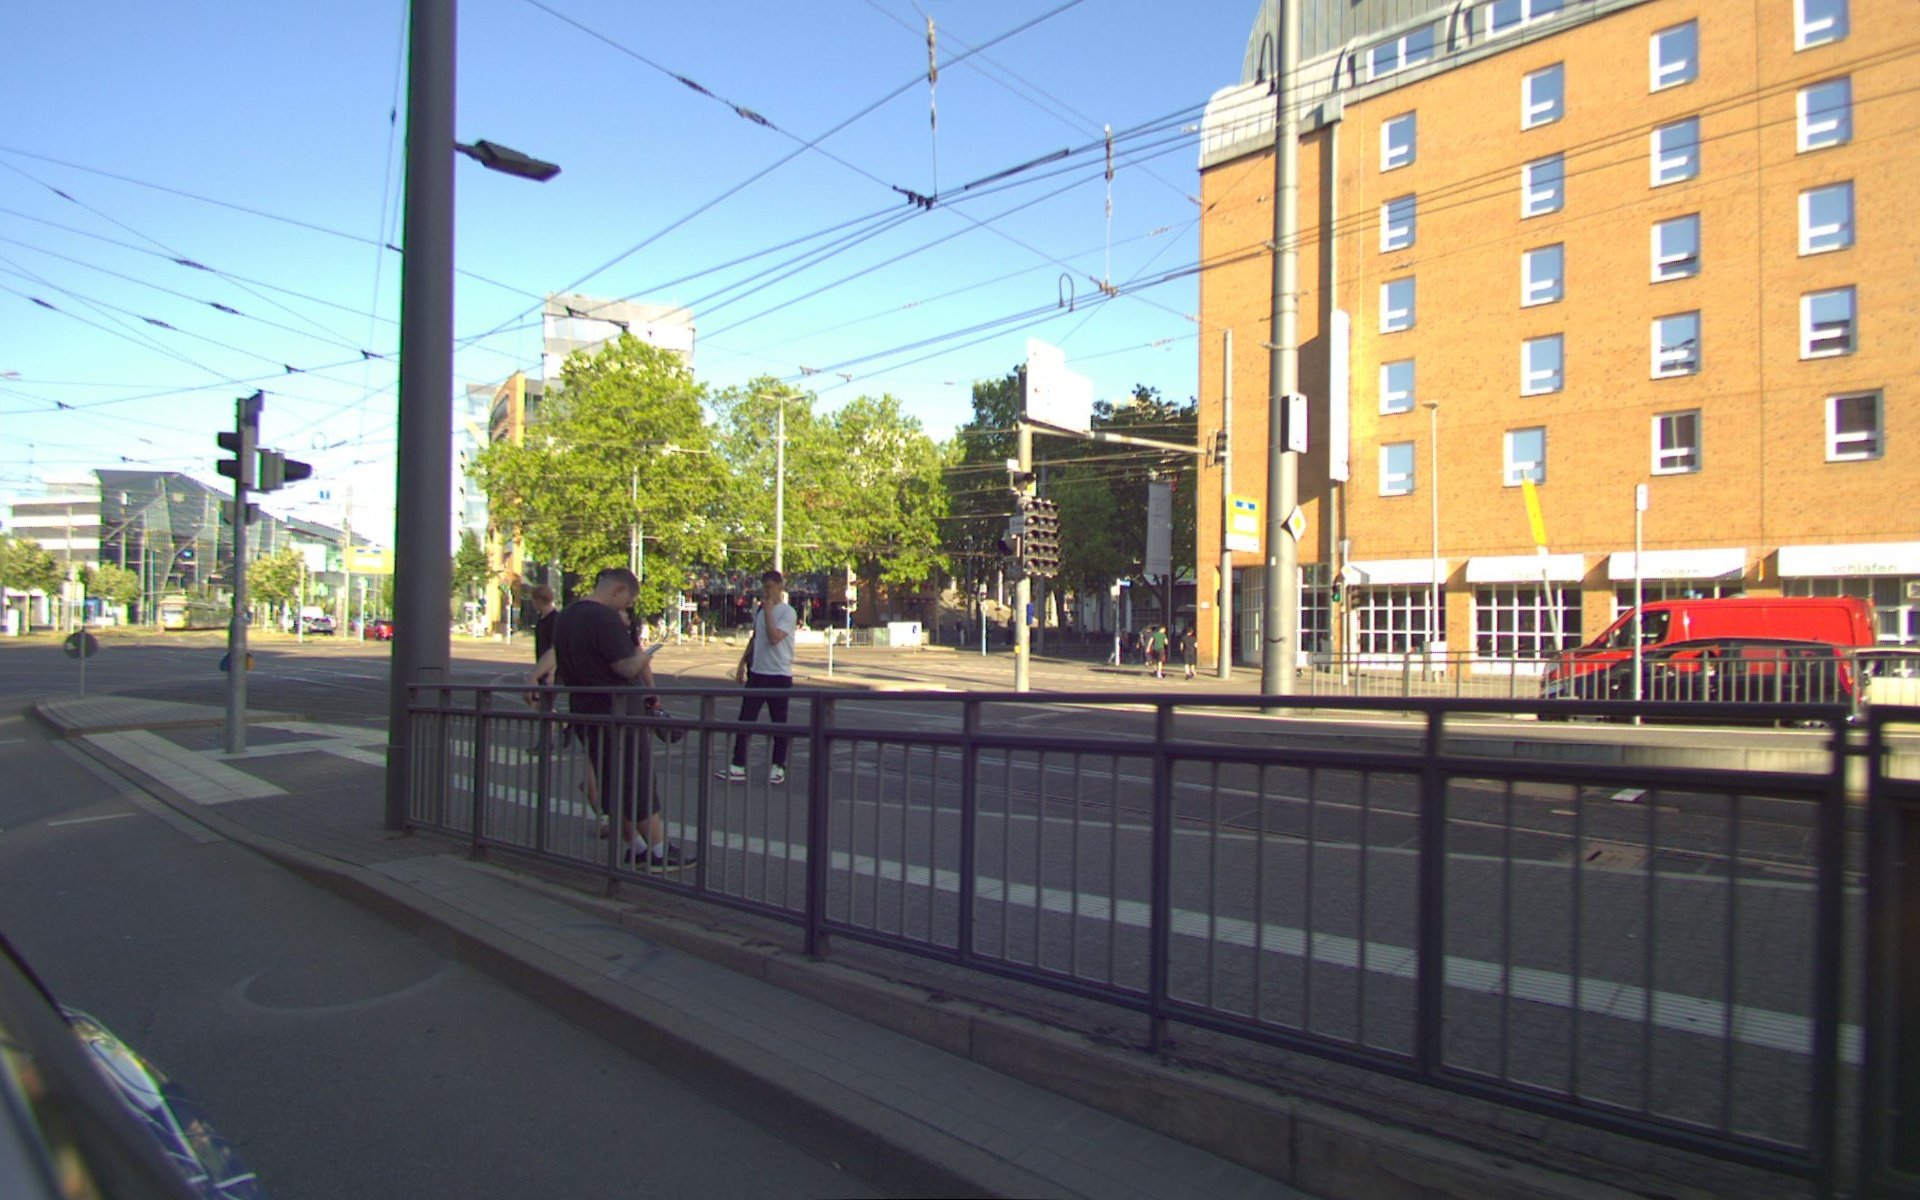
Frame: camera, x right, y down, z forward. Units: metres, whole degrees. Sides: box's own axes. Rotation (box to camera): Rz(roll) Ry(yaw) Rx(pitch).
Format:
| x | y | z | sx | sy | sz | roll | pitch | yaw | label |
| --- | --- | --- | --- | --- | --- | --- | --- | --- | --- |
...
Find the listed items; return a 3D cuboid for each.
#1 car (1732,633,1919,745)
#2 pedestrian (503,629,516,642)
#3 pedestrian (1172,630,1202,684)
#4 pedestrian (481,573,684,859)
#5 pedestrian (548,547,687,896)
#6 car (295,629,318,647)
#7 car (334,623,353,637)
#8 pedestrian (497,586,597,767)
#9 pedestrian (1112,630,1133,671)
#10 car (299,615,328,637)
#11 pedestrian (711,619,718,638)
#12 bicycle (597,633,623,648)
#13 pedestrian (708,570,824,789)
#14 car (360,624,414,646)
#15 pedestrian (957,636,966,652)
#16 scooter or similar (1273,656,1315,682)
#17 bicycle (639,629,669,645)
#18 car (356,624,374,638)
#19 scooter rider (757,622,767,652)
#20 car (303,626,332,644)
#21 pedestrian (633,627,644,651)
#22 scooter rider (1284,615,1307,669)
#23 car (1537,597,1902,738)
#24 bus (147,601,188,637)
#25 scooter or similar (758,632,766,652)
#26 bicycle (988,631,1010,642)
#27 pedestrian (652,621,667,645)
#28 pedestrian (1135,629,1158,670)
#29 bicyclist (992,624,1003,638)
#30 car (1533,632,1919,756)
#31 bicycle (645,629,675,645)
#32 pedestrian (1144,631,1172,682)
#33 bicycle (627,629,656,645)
| x | y | z | sx | sy | sz | roll | pitch | yaw | label |
| --- | --- | --- | --- | --- | --- | --- | --- | --- | --- |
| 13.869 | 1.270 | 14.768 | 3.998 | 1.544 | 1.866 | -2 | -3 | 41 | car |
| -38.818 | 3.084 | 87.176 | 0.681 | 1.089 | 0.766 | -1 | -2 | 41 | pedestrian |
| 7.508 | 1.876 | 33.497 | 0.630 | 1.731 | 0.780 | 1 | -2 | -19 | pedestrian |
| -2.210 | 0.640 | 5.984 | 0.845 | 1.550 | 0.711 | 0 | -2 | 18 | pedestrian |
| -1.657 | 0.550 | 4.876 | 0.482 | 1.550 | 0.553 | 2 | -2 | -33 | pedestrian |
| -65.732 | 3.842 | 101.831 | 1.591 | 1.615 | 4.188 | 5 | -5 | -30 | car |
| -75.380 | 3.701 | 123.784 | 1.833 | 1.644 | 4.276 | 2 | -3 | -30 | car |
| -4.108 | 0.739 | 10.069 | 0.749 | 1.715 | 0.616 | -1 | -3 | 40 | pedestrian |
| 7.483 | 2.322 | 46.618 | 0.733 | 1.909 | 0.650 | 1 | -2 | -19 | pedestrian |
| -75.623 | 3.056 | 118.415 | 1.965 | 2.499 | 5.993 | 1 | -3 | -25 | car |
| -21.803 | 2.527 | 90.014 | 0.535 | 1.682 | 0.571 | 1 | -2 | -8 | pedestrian |
| -25.020 | 2.896 | 72.292 | 1.672 | 1.044 | 0.550 | 2 | -2 | -38 | bicycle |
| -1.590 | 0.635 | 8.375 | 0.768 | 1.731 | 0.640 | 1 | -2 | 6 | pedestrian |
| -38.696 | 2.378 | 68.314 | 3.992 | 1.439 | 1.672 | -1 | -3 | 36 | car |
| 0.111 | 2.820 | 65.409 | 0.373 | 1.040 | 0.406 | 3 | -2 | -45 | pedestrian |
| 11.202 | 2.318 | 33.925 | 1.221 | 0.837 | 0.545 | 1 | -2 | -1 | scooter or similar |
| -21.542 | 2.611 | 71.266 | 1.815 | 1.138 | 0.776 | 2 | -2 | -42 | bicycle |
| -74.191 | 3.883 | 126.198 | 1.834 | 1.644 | 4.275 | 2 | -3 | -32 | car |
| -12.388 | 2.313 | 63.221 | 0.579 | 1.847 | 0.765 | 1 | -2 | -11 | scooter rider |
| -53.307 | 2.892 | 83.909 | 1.610 | 1.463 | 4.008 | 2 | -3 | -38 | car |
| -21.066 | 2.571 | 66.324 | 0.477 | 1.550 | 0.573 | 1 | -2 | -3 | pedestrian |
| 11.250 | 1.410 | 33.956 | 0.562 | 1.768 | 0.534 | 1 | -2 | -2 | scooter rider |
| 14.043 | 1.151 | 19.031 | 5.262 | 2.306 | 2.057 | -1 | -2 | 41 | car |
| -80.766 | 2.024 | 103.083 | 2.684 | 3.434 | 9.681 | 2 | -3 | -41 | bus |
| -12.373 | 2.623 | 63.187 | 0.448 | 1.188 | 1.162 | 1 | -2 | -11 | scooter or similar |
| 3.826 | 3.592 | 99.444 | 1.982 | 1.075 | 0.697 | 1 | -2 | -11 | bicycle |
| -21.873 | 2.402 | 73.713 | 0.878 | 1.778 | 0.733 | 2 | -4 | -29 | pedestrian |
| 7.233 | 1.905 | 39.247 | 0.536 | 1.565 | 0.871 | 1 | -2 | -14 | pedestrian |
| 3.681 | 3.046 | 99.430 | 0.943 | 1.355 | 0.676 | 1 | -2 | -11 | bicyclist |
| 10.325 | 1.186 | 13.897 | 3.998 | 1.459 | 1.739 | -2 | -3 | 41 | car |
| -20.954 | 2.584 | 70.625 | 1.815 | 1.138 | 0.776 | 2 | -2 | -42 | bicycle |
| 6.730 | 1.914 | 34.466 | 0.630 | 1.731 | 0.780 | 1 | -2 | -19 | pedestrian |
| -22.855 | 2.673 | 72.737 | 1.815 | 1.138 | 0.776 | 2 | -2 | -42 | bicycle |
